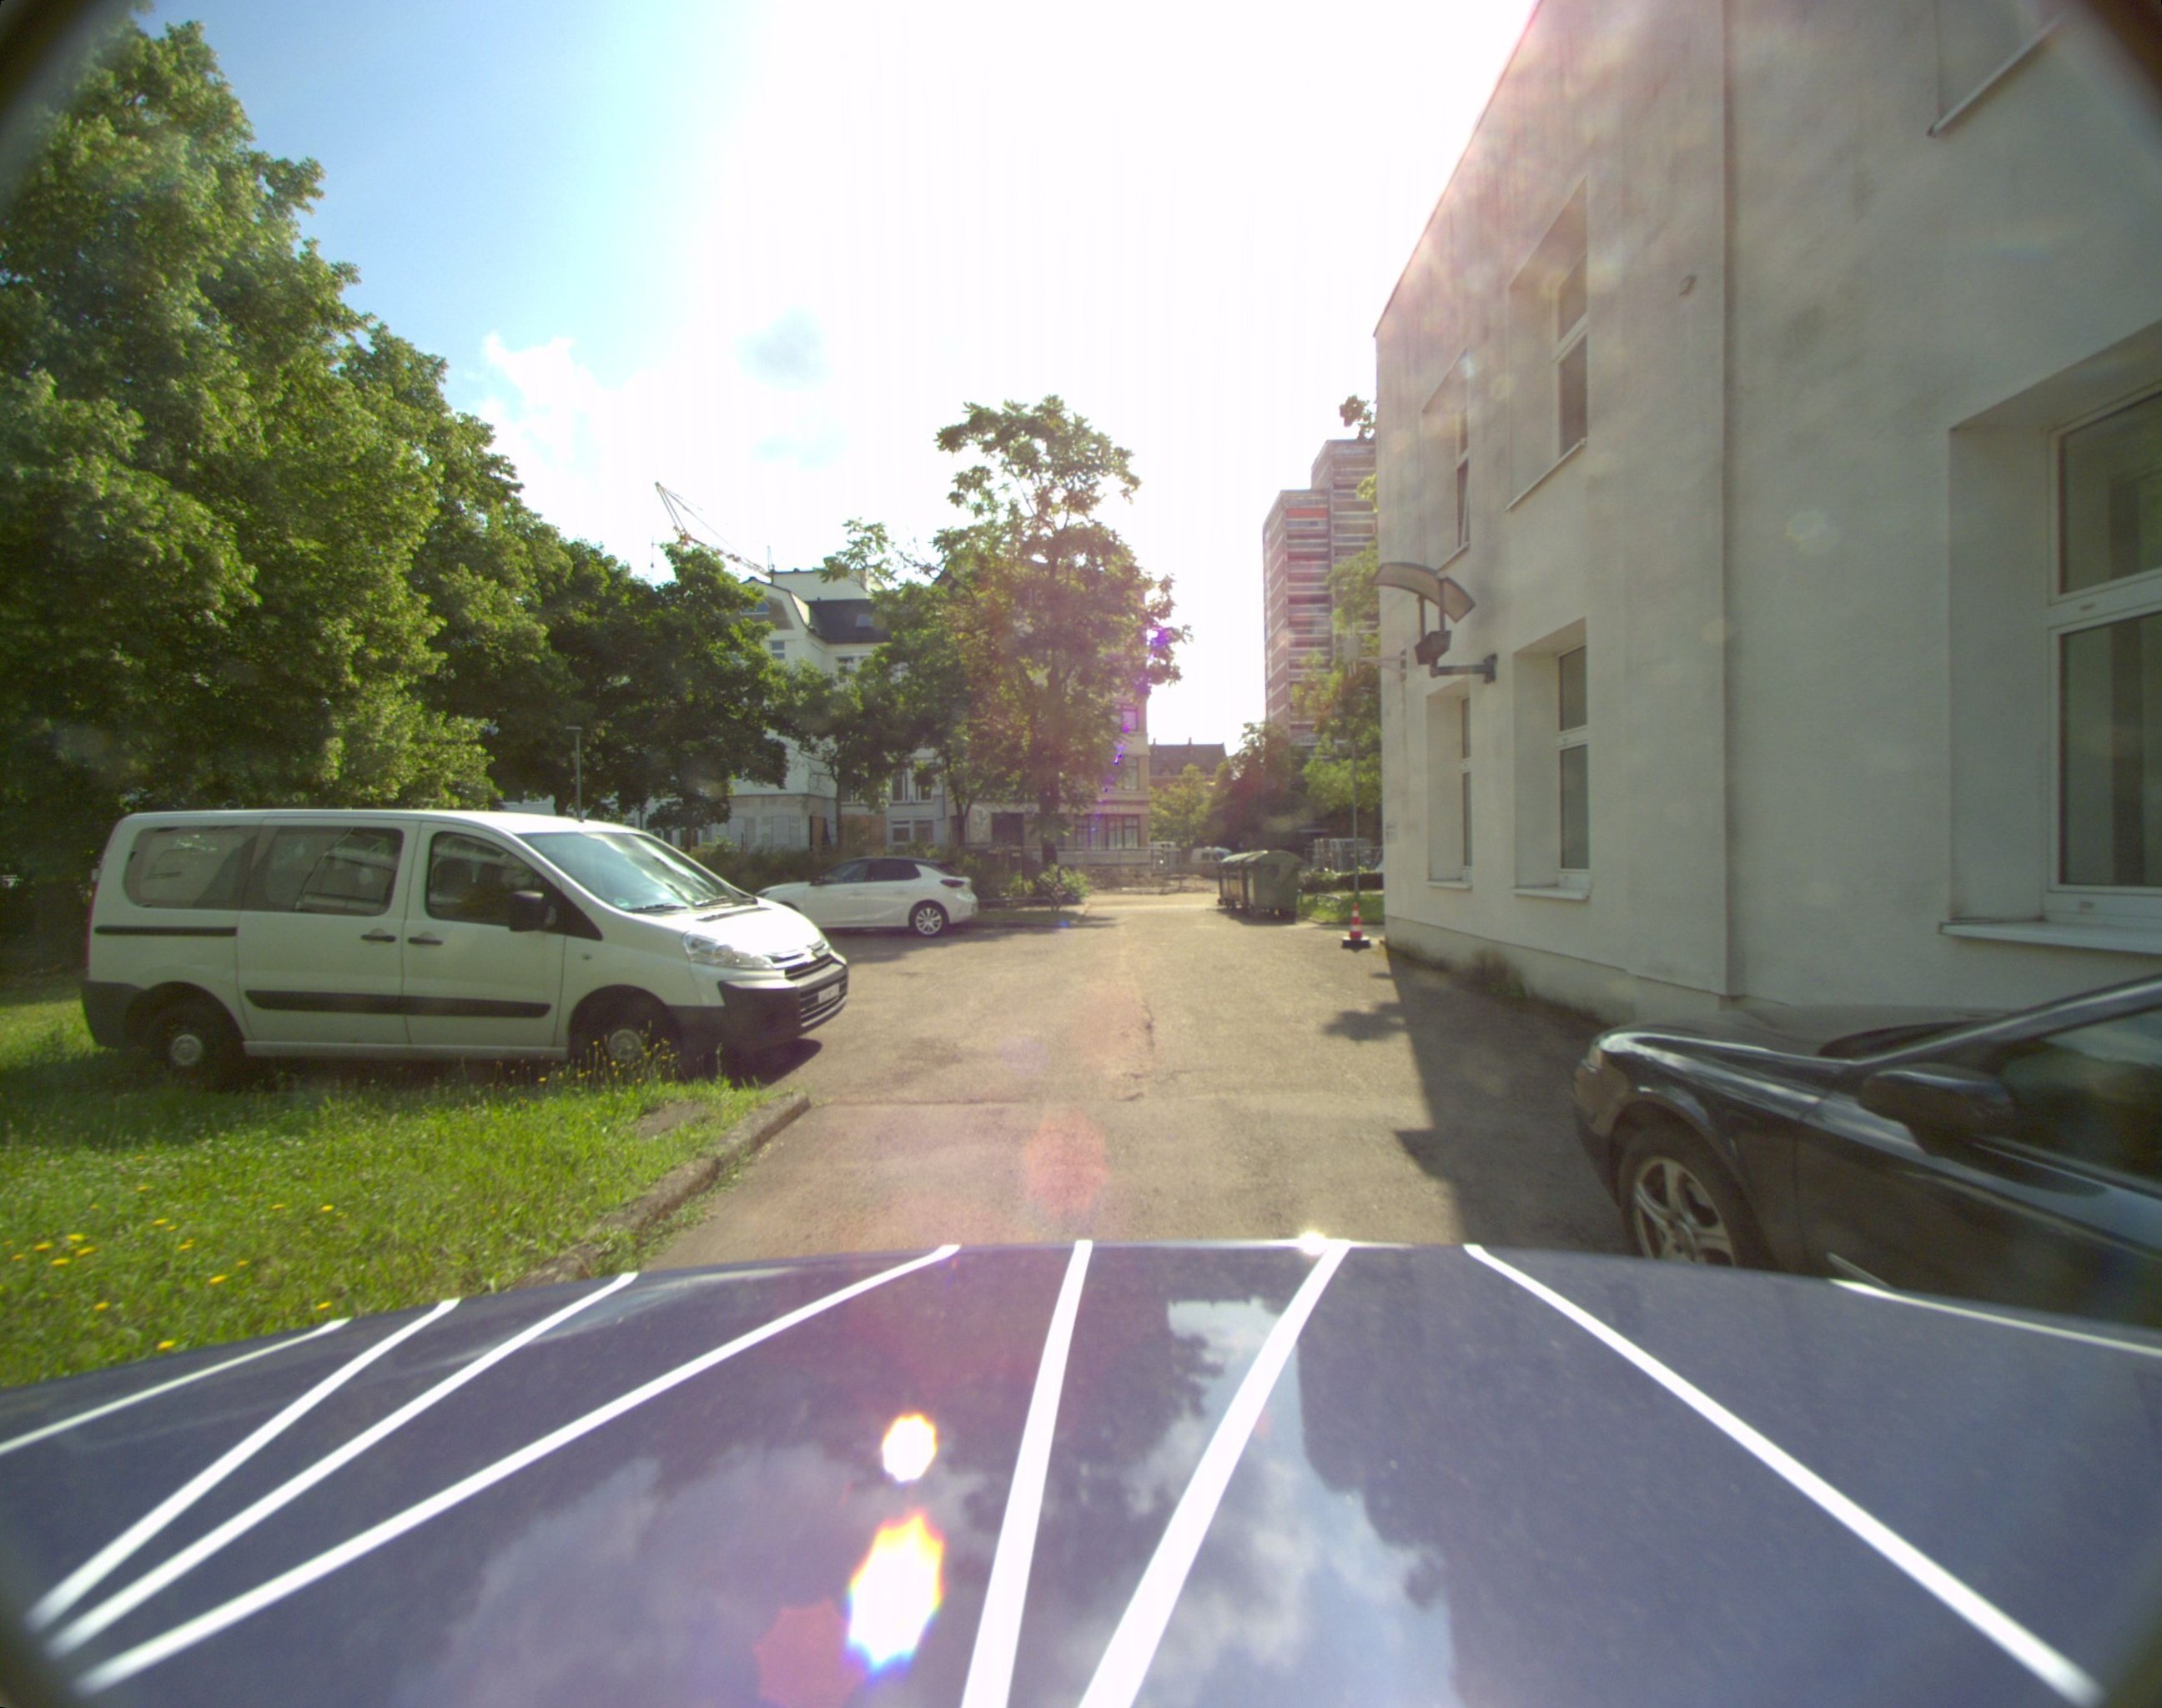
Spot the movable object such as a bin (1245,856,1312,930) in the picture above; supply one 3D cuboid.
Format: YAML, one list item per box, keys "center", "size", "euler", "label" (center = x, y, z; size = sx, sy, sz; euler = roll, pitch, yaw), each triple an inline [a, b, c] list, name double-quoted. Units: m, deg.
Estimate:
- center: [4.220, 0.811, 16.359]
  size: [1.102, 1.443, 1.343]
  euler: [-4, 1, 5]
  label: "movable object such as a bin"

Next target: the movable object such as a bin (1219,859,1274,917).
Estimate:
- center: [4.450, 0.890, 20.540]
  size: [1.102, 1.443, 1.343]
  euler: [-3, 0, 0]
  label: "movable object such as a bin"

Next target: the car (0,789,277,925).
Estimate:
- center: [-25.444, 0.161, 20.213]
  size: [2.001, 3.029, 6.968]
  euler: [-2, -1, -14]
  label: "car"

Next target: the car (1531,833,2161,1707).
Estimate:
- center: [2.509, 0.794, 0.567]
  size: [1.884, 1.434, 4.339]
  euler: [-3, 3, 3]
  label: "car"

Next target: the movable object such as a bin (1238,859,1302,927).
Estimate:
- center: [4.368, 0.884, 17.678]
  size: [1.226, 1.443, 1.284]
  euler: [-4, -1, 8]
  label: "movable object such as a bin"

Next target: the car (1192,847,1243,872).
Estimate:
- center: [12.387, 0.469, 69.400]
  size: [2.002, 2.003, 5.296]
  euler: [-2, 3, -24]
  label: "car"

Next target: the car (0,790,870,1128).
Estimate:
- center: [-4.377, 0.691, 5.654]
  size: [4.950, 1.953, 2.001]
  euler: [-2, 0, 4]
  label: "car"

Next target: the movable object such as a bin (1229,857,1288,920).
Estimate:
- center: [4.426, 0.839, 19.052]
  size: [1.102, 1.443, 1.234]
  euler: [-4, 1, -1]
  label: "movable object such as a bin"

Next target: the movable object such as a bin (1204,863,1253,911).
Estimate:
- center: [4.744, 1.039, 24.357]
  size: [1.247, 1.473, 1.298]
  euler: [-2, -1, 22]
  label: "movable object such as a bin"

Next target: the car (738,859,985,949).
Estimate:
- center: [-3.859, 0.866, 13.822]
  size: [3.913, 1.412, 1.759]
  euler: [-1, 1, 3]
  label: "car"
